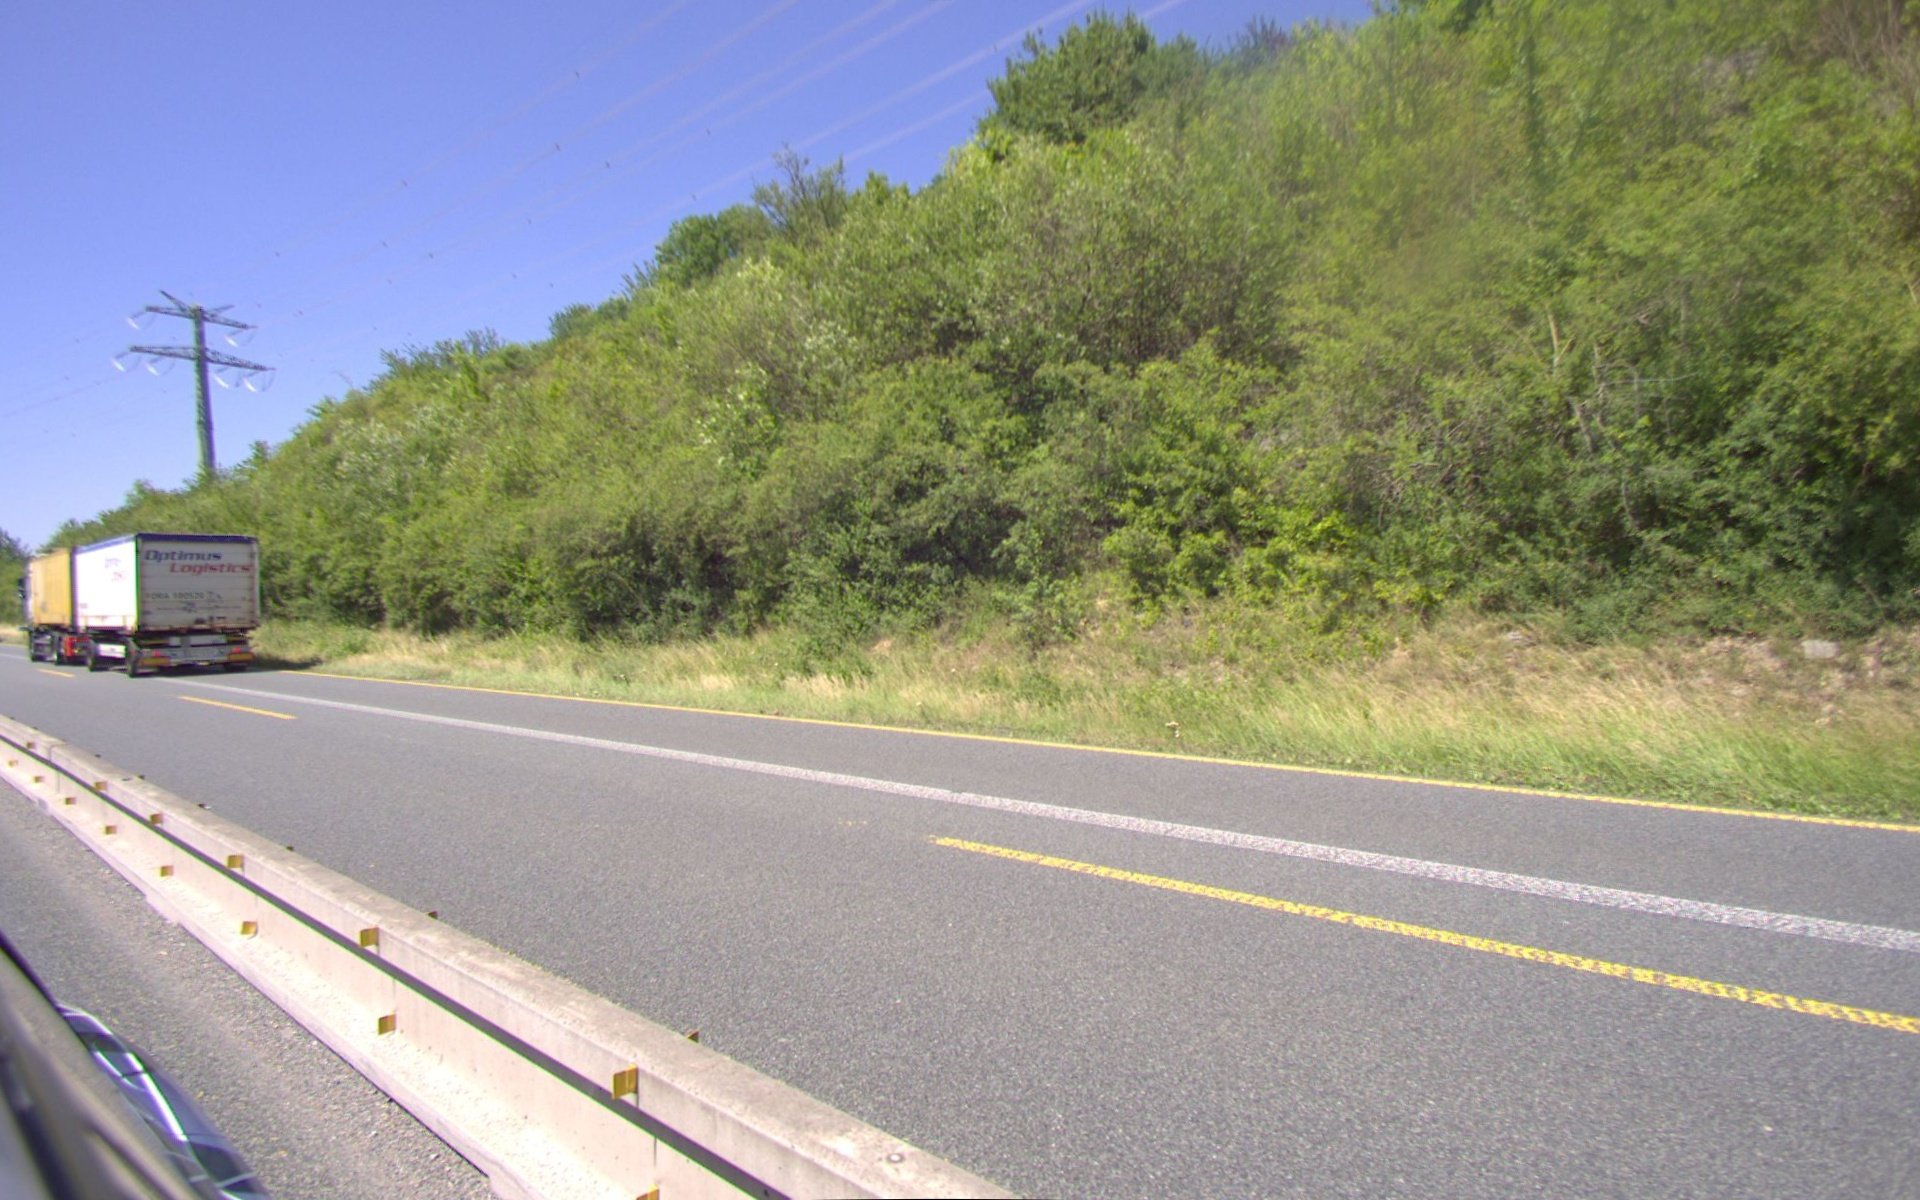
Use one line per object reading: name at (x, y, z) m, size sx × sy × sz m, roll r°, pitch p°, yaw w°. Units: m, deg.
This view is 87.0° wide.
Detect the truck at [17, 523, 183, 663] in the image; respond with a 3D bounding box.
truck at (-28.394, -0.166, 33.207) m, size 9.646 × 4.021 × 2.622 m, roll -2°, pitch 1°, yaw 41°

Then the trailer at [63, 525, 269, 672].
trailer at (-21.425, 0.002, 27.062) m, size 8.914 × 3.361 × 2.623 m, roll -2°, pitch 1°, yaw 41°
